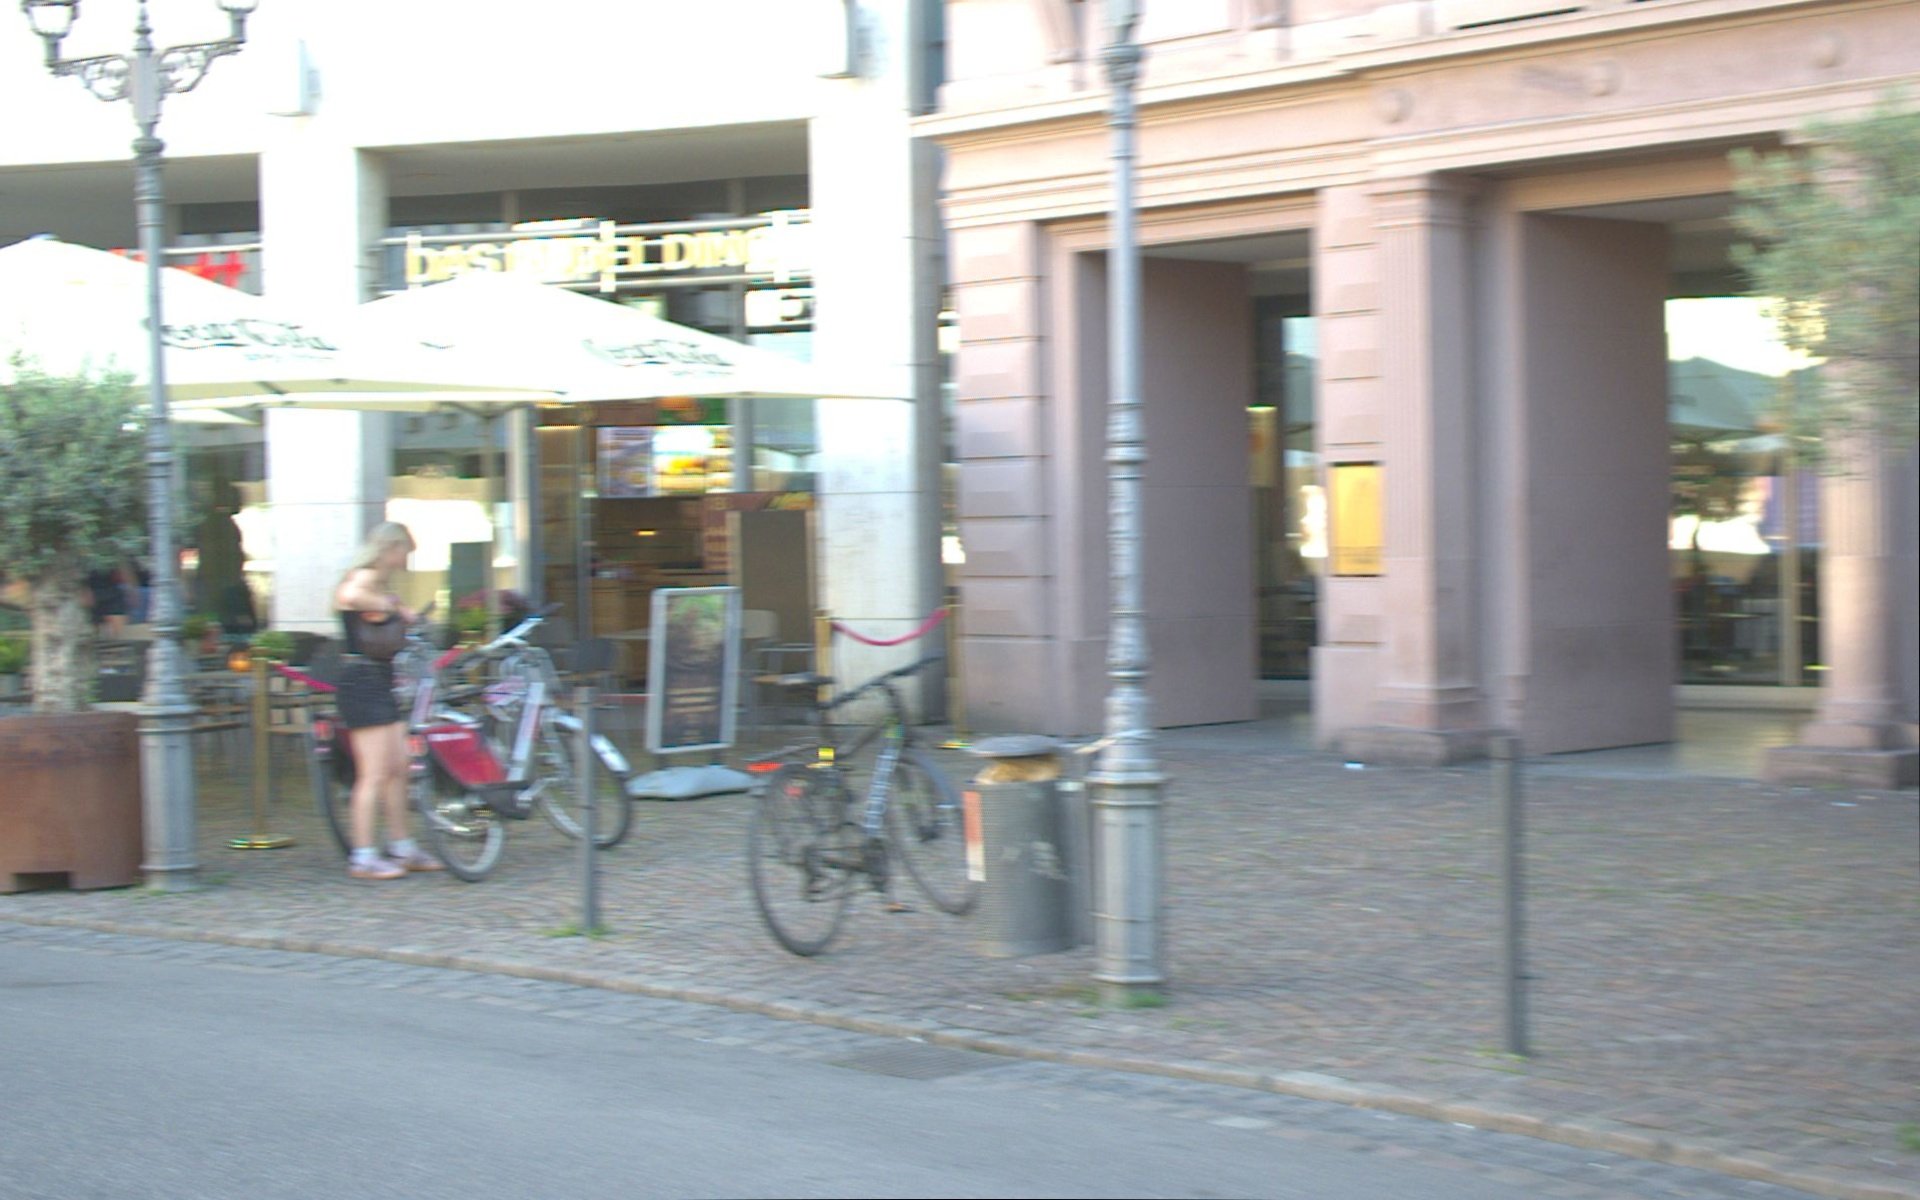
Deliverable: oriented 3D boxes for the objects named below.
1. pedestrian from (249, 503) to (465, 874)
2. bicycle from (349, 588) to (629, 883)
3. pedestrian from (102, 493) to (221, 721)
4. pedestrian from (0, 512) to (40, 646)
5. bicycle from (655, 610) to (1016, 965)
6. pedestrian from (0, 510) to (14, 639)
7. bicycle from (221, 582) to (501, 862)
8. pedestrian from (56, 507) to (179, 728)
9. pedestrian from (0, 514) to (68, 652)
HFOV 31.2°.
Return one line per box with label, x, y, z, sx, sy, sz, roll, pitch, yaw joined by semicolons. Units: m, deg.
pedestrian;-2.639;0.374;15.108;0.747;1.583;0.714;-1;2;5
bicycle;-2.075;0.568;15.416;0.605;1.124;1.905;-1;4;12
pedestrian;-6.585;0.048;28.386;0.716;1.855;0.669;-1;2;10
pedestrian;-12.244;-0.273;44.161;0.764;1.675;0.877;-1;3;-14
bicycle;-0.433;0.666;13.137;0.606;1.124;1.904;0;4;23
pedestrian;-12.802;-0.339;45.331;0.590;1.692;0.696;-2;2;-15
bicycle;-2.786;0.539;16.195;0.605;1.124;1.905;-1;4;12
pedestrian;-6.745;0.134;27.553;0.716;1.739;0.669;-1;2;10
pedestrian;-11.625;-0.225;43.173;0.764;1.675;0.877;-1;3;-14
